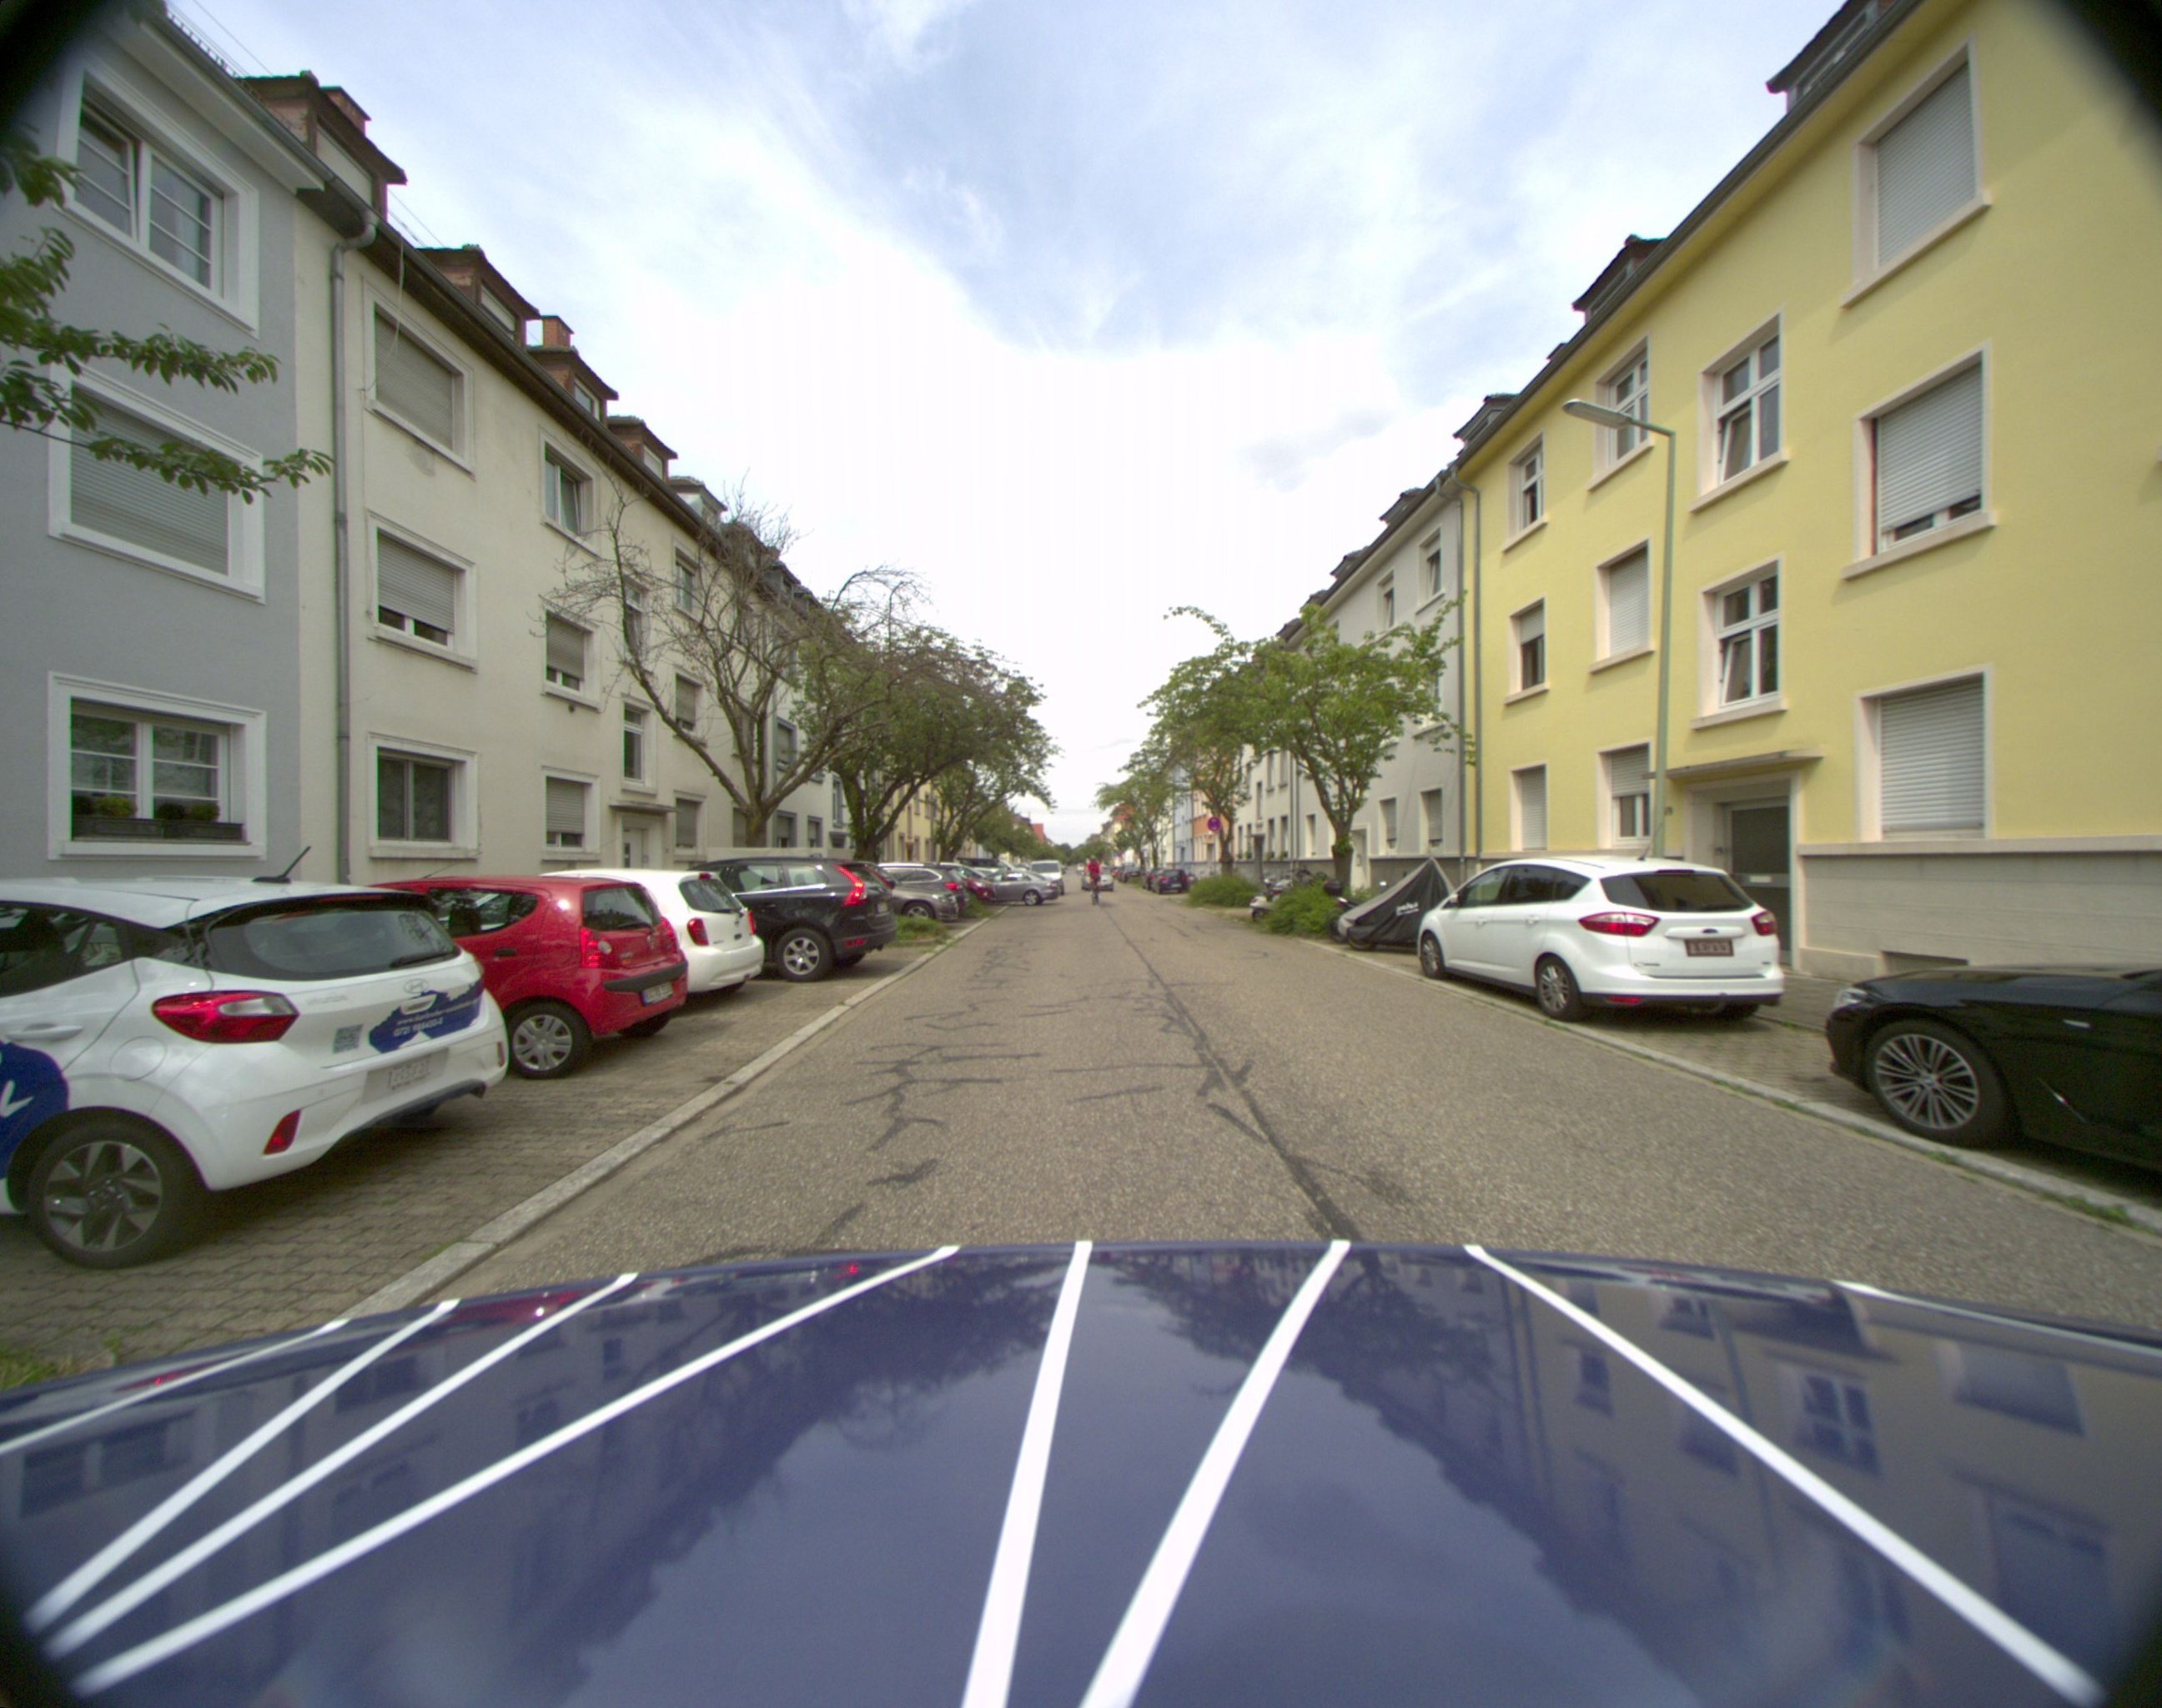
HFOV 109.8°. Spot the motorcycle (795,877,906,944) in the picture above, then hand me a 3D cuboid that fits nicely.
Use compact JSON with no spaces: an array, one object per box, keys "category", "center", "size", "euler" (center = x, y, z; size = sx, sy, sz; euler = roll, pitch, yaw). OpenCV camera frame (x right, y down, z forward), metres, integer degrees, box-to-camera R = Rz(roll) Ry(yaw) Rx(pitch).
[{"category":"motorcycle","center":[-5.069,1.227,16.807],"size":[2.231,1.401,0.715],"euler":[-1,0,-3]}]

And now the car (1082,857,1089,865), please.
[{"category":"car","center":[1.127,1.840,206.361],"size":[1.757,2.097,3.621],"euler":[1,0,0]}]

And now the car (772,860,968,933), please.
[{"category":"car","center":[-4.990,0.998,18.477],"size":[4.226,1.588,1.903],"euler":[1,0,-3]}]

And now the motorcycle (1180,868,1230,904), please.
[{"category":"motorcycle","center":[5.045,1.298,30.805],"size":[2.022,1.399,0.790],"euler":[1,0,-38]}]

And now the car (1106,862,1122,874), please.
[{"category":"car","center":[4.254,1.786,97.293],"size":[1.711,1.477,3.442],"euler":[1,0,-2]}]

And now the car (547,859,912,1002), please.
[{"category":"car","center":[-4.744,0.984,10.719],"size":[4.225,1.725,1.904],"euler":[1,0,2]}]

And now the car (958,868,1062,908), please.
[{"category":"car","center":[-2.796,1.366,30.630],"size":[3.997,1.446,1.766],"euler":[1,0,-1]}]

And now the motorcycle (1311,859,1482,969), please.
[{"category":"motorcycle","center":[5.203,0.929,12.690],"size":[0.941,1.666,2.467],"euler":[0,-1,-44]}]

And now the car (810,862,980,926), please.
[{"category":"car","center":[-5.031,1.071,21.004],"size":[4.226,1.588,1.903],"euler":[1,0,-3]}]

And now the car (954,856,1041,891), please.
[{"category":"car","center":[-5.185,1.191,47.396],"size":[5.244,2.011,2.072],"euler":[1,0,-5]}]

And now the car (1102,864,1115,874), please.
[{"category":"car","center":[4.115,2.288,115.781],"size":[1.711,1.438,3.442],"euler":[1,0,-2]}]

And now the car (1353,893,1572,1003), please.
[{"category":"car","center":[6.881,1.617,14.284],"size":[1.841,1.475,4.120],"euler":[-3,0,-2]}]

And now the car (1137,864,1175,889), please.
[{"category":"car","center":[4.797,1.411,48.902],"size":[1.841,1.475,4.092],"euler":[-2,0,-2]}]

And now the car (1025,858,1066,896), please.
[{"category":"car","center":[-1.921,1.185,41.484],"size":[1.999,1.903,4.703],"euler":[-2,0,-2]}]

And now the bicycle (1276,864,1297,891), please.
[{"category":"bicycle","center":[7.933,0.891,29.332],"size":[0.421,1.000,1.434],"euler":[1,0,1]}]

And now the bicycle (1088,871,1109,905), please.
[{"category":"bicycle","center":[0.670,1.309,29.498],"size":[0.693,1.220,1.937],"euler":[-1,0,-1]}]

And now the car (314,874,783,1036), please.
[{"category":"car","center":[-5.507,1.002,8.259],"size":[3.757,1.433,1.865],"euler":[1,0,0]}]

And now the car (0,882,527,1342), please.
[{"category":"car","center":[-5.228,0.935,3.482],"size":[3.998,1.521,1.767],"euler":[1,0,-3]}]

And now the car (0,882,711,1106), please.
[{"category":"car","center":[-5.369,0.989,5.990],"size":[3.998,1.402,1.767],"euler":[1,0,-3]}]

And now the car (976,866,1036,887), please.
[{"category":"car","center":[-5.291,1.594,54.198],"size":[4.104,1.406,1.850],"euler":[1,0,-2]}]

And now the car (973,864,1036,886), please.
[{"category":"car","center":[-5.695,1.569,56.743],"size":[4.559,1.501,1.850],"euler":[1,0,-2]}]

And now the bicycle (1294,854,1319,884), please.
[{"category":"bicycle","center":[7.767,0.500,26.162],"size":[0.421,1.000,1.434],"euler":[1,0,1]}]

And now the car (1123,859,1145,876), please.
[{"category":"car","center":[5.178,1.339,74.820],"size":[1.697,1.573,4.248],"euler":[-1,0,-2]}]

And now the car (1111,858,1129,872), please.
[{"category":"car","center":[4.518,1.292,88.766],"size":[1.711,1.591,4.115],"euler":[1,0,-2]}]

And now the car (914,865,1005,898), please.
[{"category":"car","center":[-5.643,1.268,35.713],"size":[3.997,1.412,1.638],"euler":[1,0,-1]}]

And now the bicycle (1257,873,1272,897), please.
[{"category":"bicycle","center":[7.903,1.331,32.747],"size":[0.310,0.961,1.434],"euler":[1,0,1]}]

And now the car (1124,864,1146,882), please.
[{"category":"car","center":[4.854,1.697,68.572],"size":[1.706,1.533,4.249],"euler":[-1,0,1]}]

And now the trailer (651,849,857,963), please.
[{"category":"trailer","center":[-5.654,0.861,13.328],"size":[2.967,1.820,1.401],"euler":[1,0,3]}]

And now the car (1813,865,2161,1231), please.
[{"category":"car","center":[5.452,0.835,2.317],"size":[1.795,1.483,4.811],"euler":[-1,0,0]}]

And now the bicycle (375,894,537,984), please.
[{"category":"bicycle","center":[-9.058,1.193,11.142],"size":[0.688,1.090,2.006],"euler":[1,0,1]}]

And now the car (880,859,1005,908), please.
[{"category":"car","center":[-5.104,1.067,28.392],"size":[4.225,1.668,1.904],"euler":[1,0,2]}]

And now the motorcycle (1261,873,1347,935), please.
[{"category":"motorcycle","center":[5.570,1.224,18.928],"size":[2.242,1.473,0.595],"euler":[1,0,-27]}]

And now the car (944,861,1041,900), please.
[{"category":"car","center":[-3.810,1.137,33.060],"size":[3.997,1.527,1.638],"euler":[1,0,-1]}]

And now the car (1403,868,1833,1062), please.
[{"category":"car","center":[5.392,0.967,8.478],"size":[1.762,1.547,4.255],"euler":[0,0,-1]}]

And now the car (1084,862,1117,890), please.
[{"category":"car","center":[1.144,1.319,46.785],"size":[1.788,1.595,4.835],"euler":[-1,0,-1]}]

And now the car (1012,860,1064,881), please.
[{"category":"car","center":[-3.975,1.532,71.010],"size":[4.751,1.898,1.850],"euler":[1,0,-1]}]

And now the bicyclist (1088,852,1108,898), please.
[{"category":"bicyclist","center":[0.657,0.803,29.658],"size":[0.694,1.759,0.986],"euler":[-1,0,-1]}]

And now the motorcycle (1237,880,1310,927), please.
[{"category":"motorcycle","center":[5.083,1.294,20.040],"size":[1.915,1.185,0.595],"euler":[1,0,-27]}]

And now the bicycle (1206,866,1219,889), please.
[{"category":"bicycle","center":[7.798,1.365,45.050],"size":[0.430,1.326,1.811],"euler":[1,0,1]}]

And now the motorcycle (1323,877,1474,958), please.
[{"category":"motorcycle","center":[5.740,1.114,13.835],"size":[2.450,1.303,0.645],"euler":[1,0,23]}]
